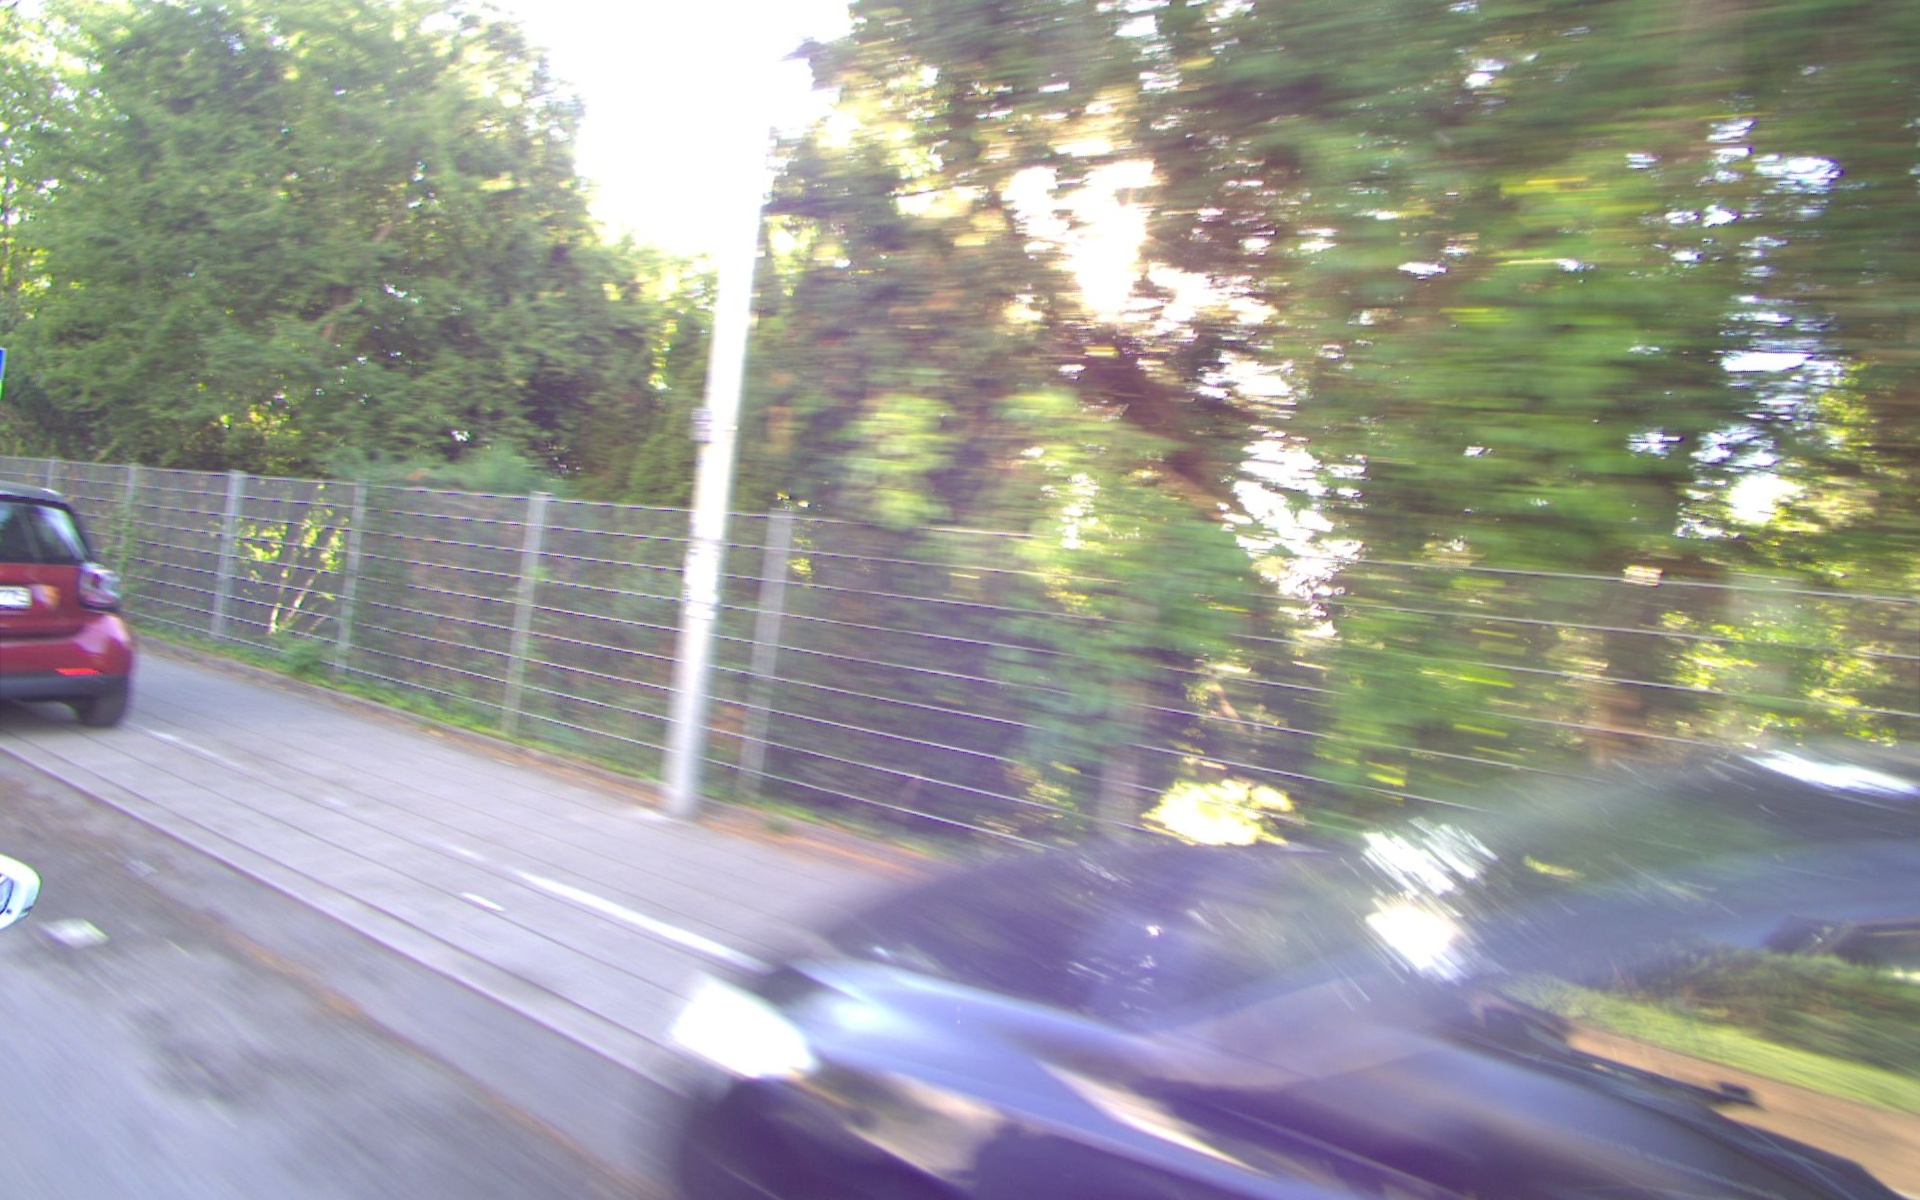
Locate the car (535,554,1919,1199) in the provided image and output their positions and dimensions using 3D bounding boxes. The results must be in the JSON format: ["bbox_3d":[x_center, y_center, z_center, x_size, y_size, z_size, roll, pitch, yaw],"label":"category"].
[{"bbox_3d":[1.377,0.906,1.652,3.933,1.458,1.797,7,-1,31],"label":"car"}]

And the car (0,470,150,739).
[{"bbox_3d":[-6.856,-0.092,6.569,2.826,1.586,1.651,6,3,33],"label":"car"}]
